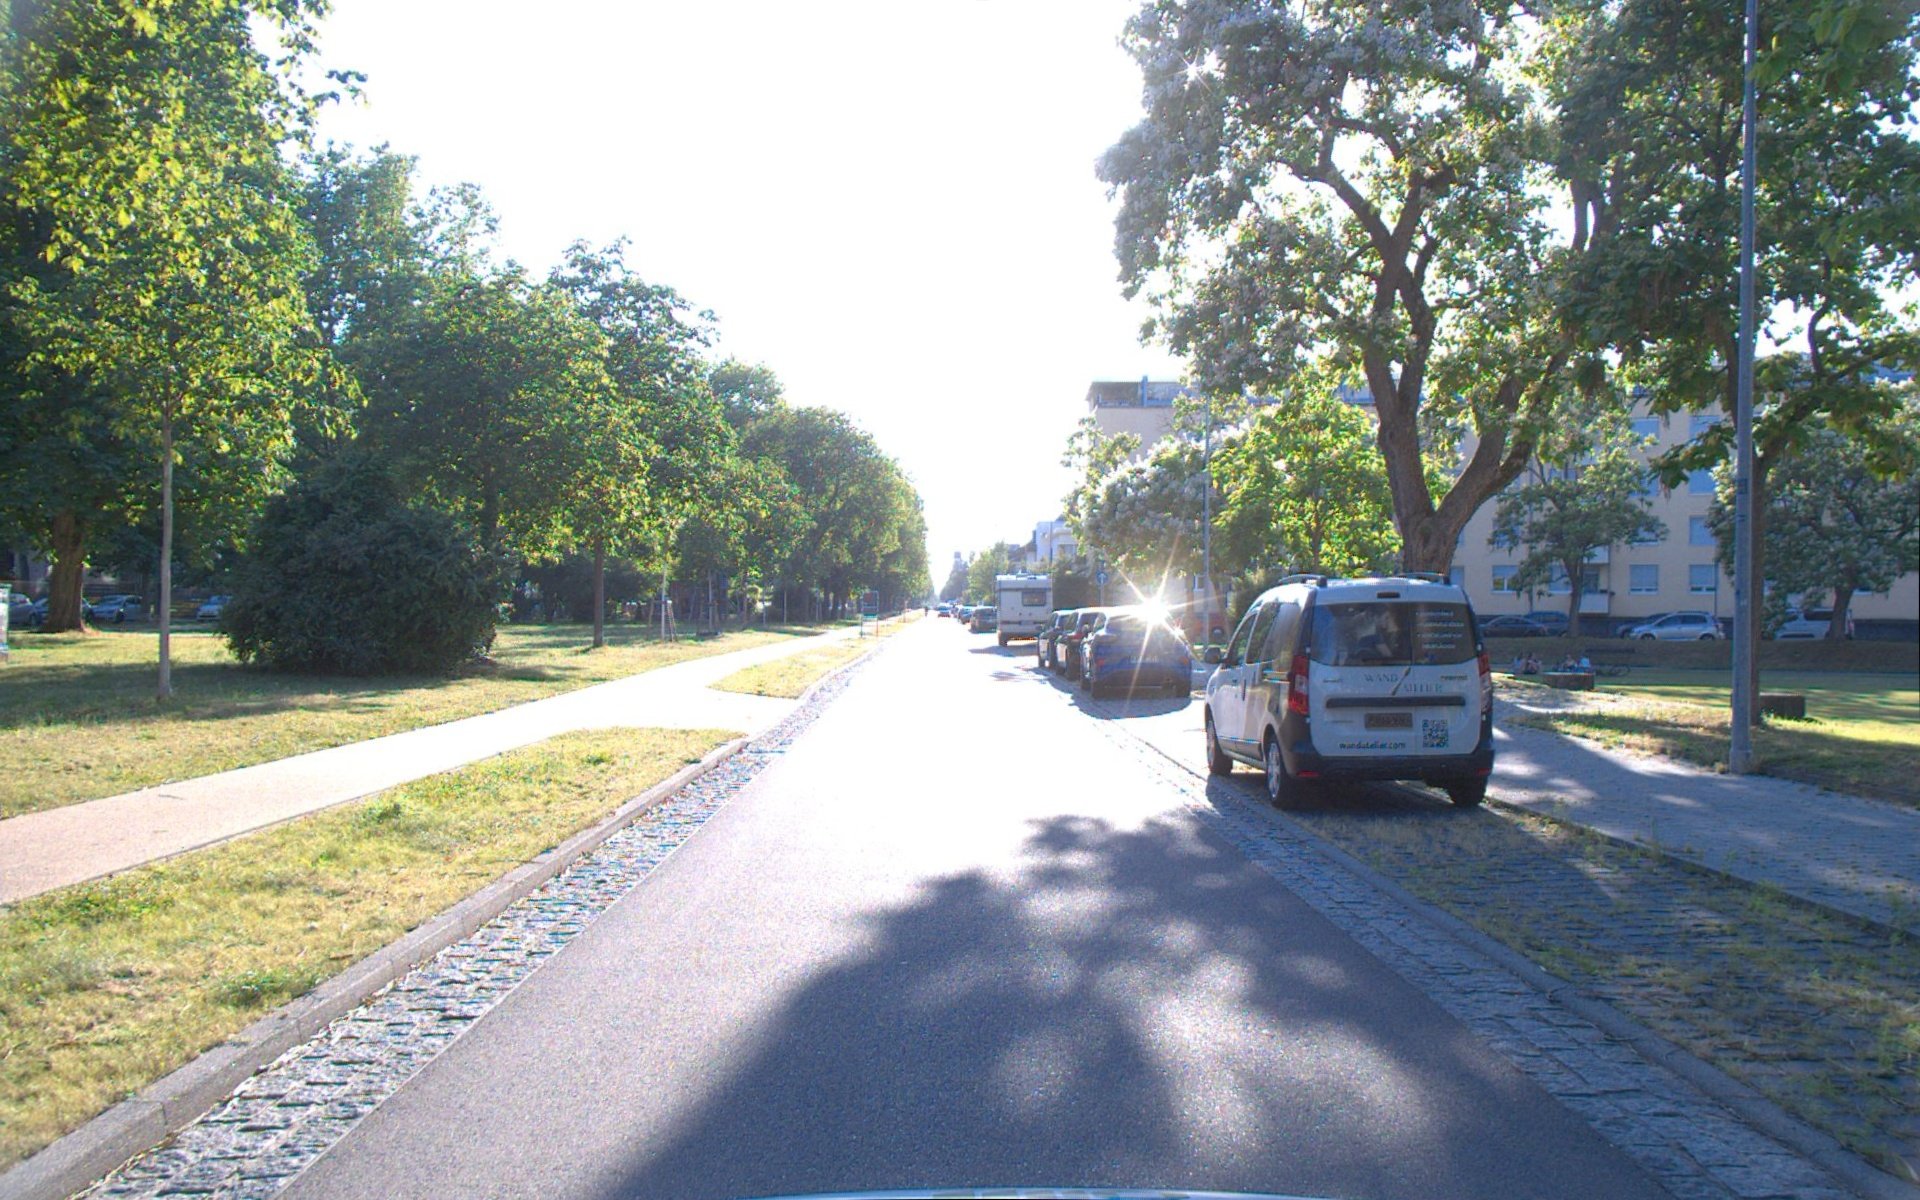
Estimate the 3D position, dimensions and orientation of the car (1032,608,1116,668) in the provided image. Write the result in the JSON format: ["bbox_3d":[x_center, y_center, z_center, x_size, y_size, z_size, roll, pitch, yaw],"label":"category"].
[{"bbox_3d":[2.906,0.965,42.899,1.594,1.490,4.245,0,-1,-4],"label":"car"}]

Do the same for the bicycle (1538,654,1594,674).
[{"bbox_3d":[20.765,2.188,56.642,1.730,0.626,1.811,0,-1,23],"label":"bicycle"}]

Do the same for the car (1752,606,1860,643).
[{"bbox_3d":[40.814,1.182,79.803,4.433,1.776,1.874,0,-1,34],"label":"car"}]

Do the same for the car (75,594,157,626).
[{"bbox_3d":[-42.073,0.527,82.536,1.953,1.534,4.115,0,-1,0],"label":"car"}]

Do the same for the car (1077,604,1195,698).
[{"bbox_3d":[3.123,0.892,30.067,1.696,1.578,4.275,0,-1,0],"label":"car"}]

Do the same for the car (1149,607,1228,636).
[{"bbox_3d":[12.361,1.145,89.635,4.107,1.557,2.001,0,-1,3],"label":"car"}]

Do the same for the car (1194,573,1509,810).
[{"bbox_3d":[3.257,0.711,14.650,1.644,1.770,4.512,0,-1,-1],"label":"car"}]

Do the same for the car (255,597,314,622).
[{"bbox_3d":[-42.223,0.598,103.477,1.953,1.534,4.115,0,-1,0],"label":"car"}]

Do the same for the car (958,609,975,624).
[{"bbox_3d":[0.605,1.620,162.315,1.593,1.434,4.248,0,-1,-1],"label":"car"}]

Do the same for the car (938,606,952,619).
[{"bbox_3d":[-1.993,1.695,221.520,1.789,1.698,4.248,0,-1,-1],"label":"car"}]

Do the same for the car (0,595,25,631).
[{"bbox_3d":[-42.951,0.568,72.253,1.953,1.534,4.000,0,-1,0],"label":"car"}]

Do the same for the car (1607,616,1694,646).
[{"bbox_3d":[34.738,1.568,83.217,3.910,1.478,1.878,0,-1,28],"label":"car"}]

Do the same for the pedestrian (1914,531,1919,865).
[{"bbox_3d":[5.441,0.522,8.403,0.738,1.766,0.731,1,0,0],"label":"pedestrian"}]

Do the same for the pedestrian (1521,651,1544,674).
[{"bbox_3d":[20.948,2.287,60.534,0.598,0.827,0.724,1,0,1],"label":"pedestrian"}]

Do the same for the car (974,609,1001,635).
[{"bbox_3d":[1.803,1.466,108.885,1.593,1.698,4.248,0,-1,-1],"label":"car"}]

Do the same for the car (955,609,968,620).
[{"bbox_3d":[0.153,1.825,210.122,1.593,1.434,4.248,0,-1,-1],"label":"car"}]

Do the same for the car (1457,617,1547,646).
[{"bbox_3d":[26.397,1.530,80.492,4.108,1.381,1.693,0,-1,20],"label":"car"}]

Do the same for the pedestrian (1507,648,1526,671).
[{"bbox_3d":[20.058,2.145,59.644,0.463,0.827,0.612,1,0,1],"label":"pedestrian"}]

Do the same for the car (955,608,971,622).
[{"bbox_3d":[0.274,1.548,173.805,1.593,1.434,4.248,0,-1,-1],"label":"car"}]

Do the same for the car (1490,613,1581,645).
[{"bbox_3d":[29.824,1.486,85.799,4.416,1.597,1.881,0,-1,18],"label":"car"}]

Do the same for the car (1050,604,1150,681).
[{"bbox_3d":[3.009,0.908,36.317,1.697,1.578,4.420,0,-1,-2],"label":"car"}]

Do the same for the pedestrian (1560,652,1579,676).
[{"bbox_3d":[21.896,2.312,59.450,0.463,0.827,0.612,1,0,1],"label":"pedestrian"}]

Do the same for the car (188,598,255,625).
[{"bbox_3d":[-42.156,0.673,94.532,1.953,1.534,4.115,0,-1,0],"label":"car"}]

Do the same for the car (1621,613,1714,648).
[{"bbox_3d":[33.100,1.412,77.360,3.909,1.579,1.608,0,-1,27],"label":"car"}]

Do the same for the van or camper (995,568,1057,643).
[{"bbox_3d":[2.651,0.291,67.663,2.189,2.955,5.671,0,-2,-1],"label":"van or camper"}]

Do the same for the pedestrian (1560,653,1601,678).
[{"bbox_3d":[21.932,2.327,58.456,0.570,0.827,1.238,2,-1,-45],"label":"pedestrian"}]

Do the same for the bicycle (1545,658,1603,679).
[{"bbox_3d":[20.712,2.301,55.748,1.730,0.626,1.811,0,-1,23],"label":"bicycle"}]
